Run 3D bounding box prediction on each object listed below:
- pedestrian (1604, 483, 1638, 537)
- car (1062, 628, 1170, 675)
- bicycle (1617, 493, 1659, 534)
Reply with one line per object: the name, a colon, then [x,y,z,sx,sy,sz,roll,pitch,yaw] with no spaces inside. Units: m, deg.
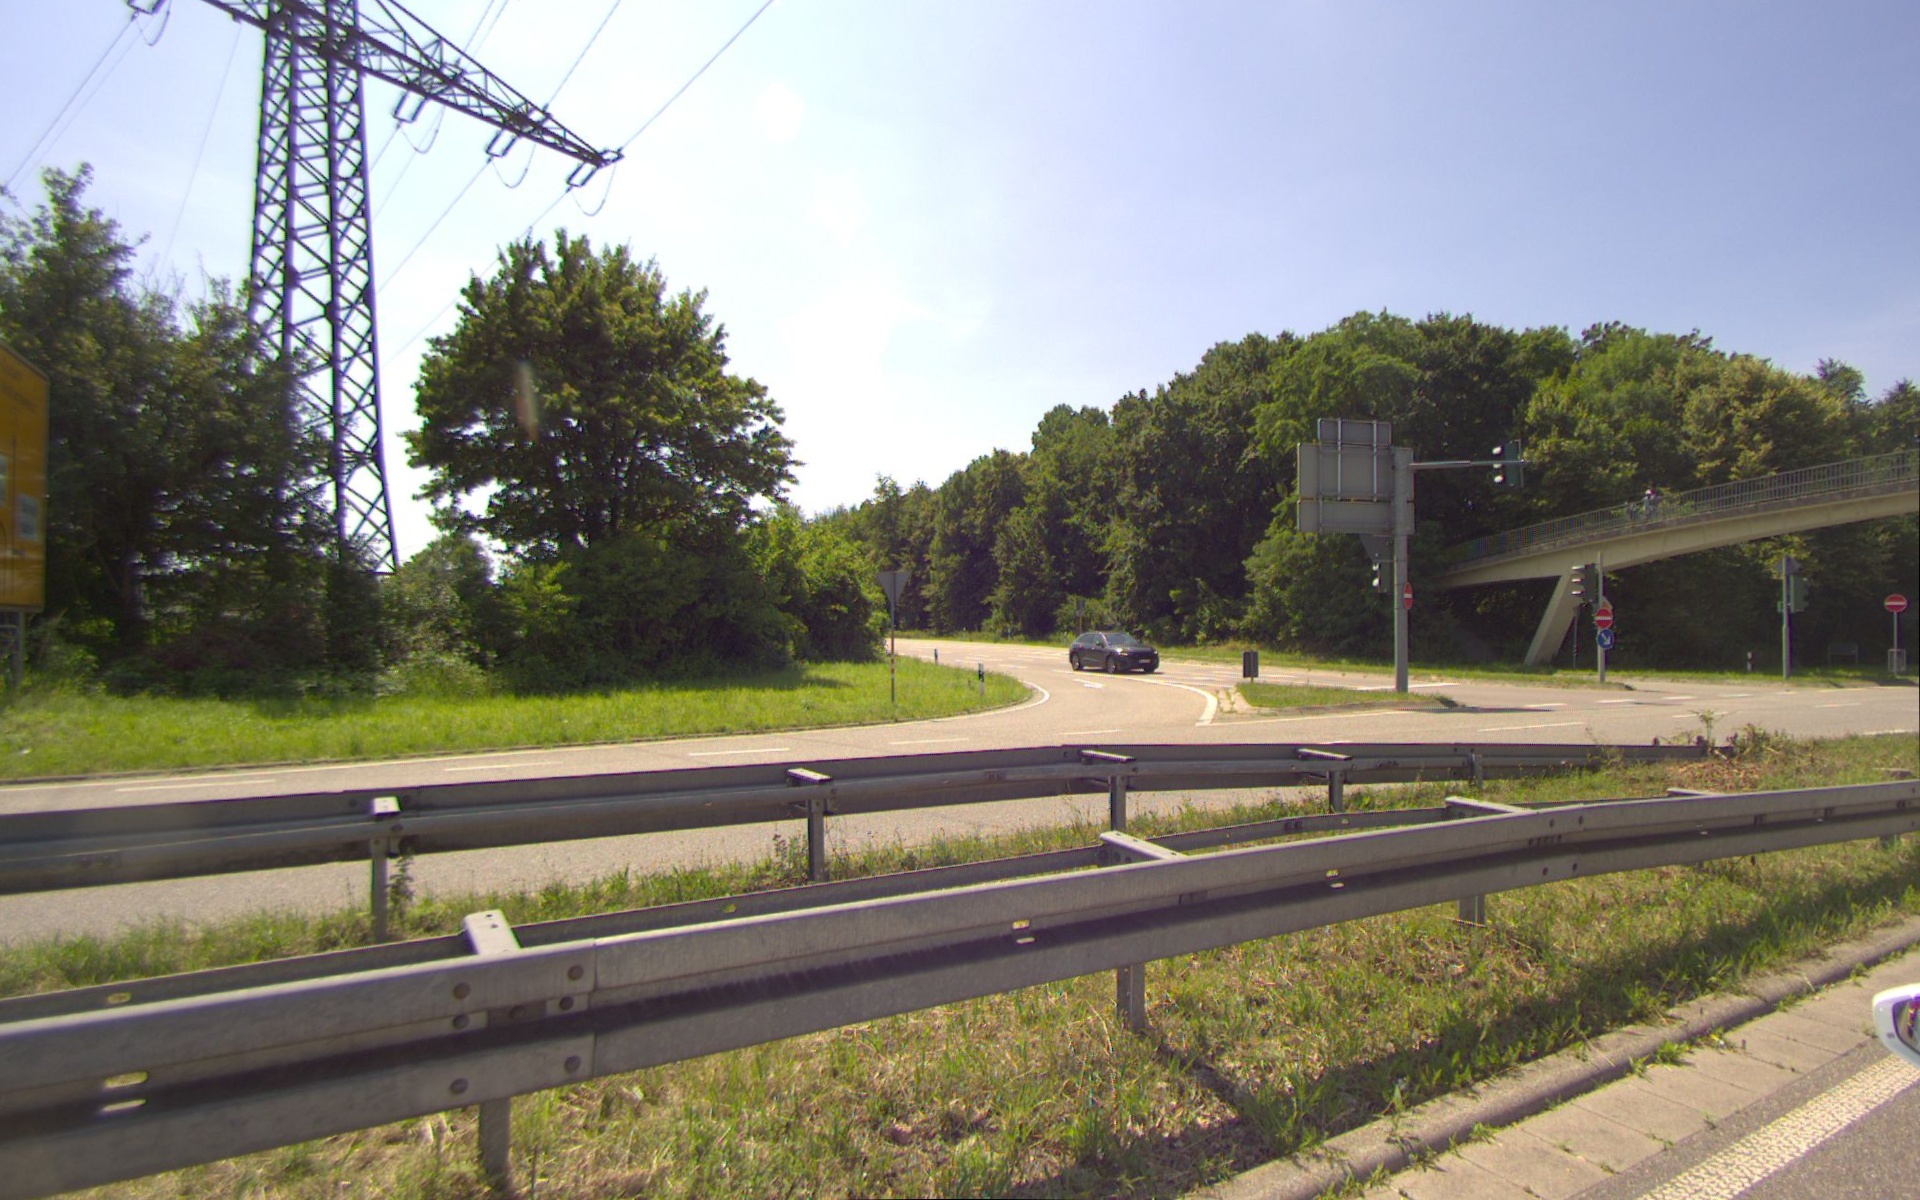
pedestrian: [28.199,-3.830,42.837,0.916,2.167,0.783,2,-3,-14]
car: [6.356,2.078,41.597,2.019,1.721,5.059,-2,-1,-23]
bicycle: [28.224,-3.599,41.853,0.462,1.493,1.528,2,-3,-14]
